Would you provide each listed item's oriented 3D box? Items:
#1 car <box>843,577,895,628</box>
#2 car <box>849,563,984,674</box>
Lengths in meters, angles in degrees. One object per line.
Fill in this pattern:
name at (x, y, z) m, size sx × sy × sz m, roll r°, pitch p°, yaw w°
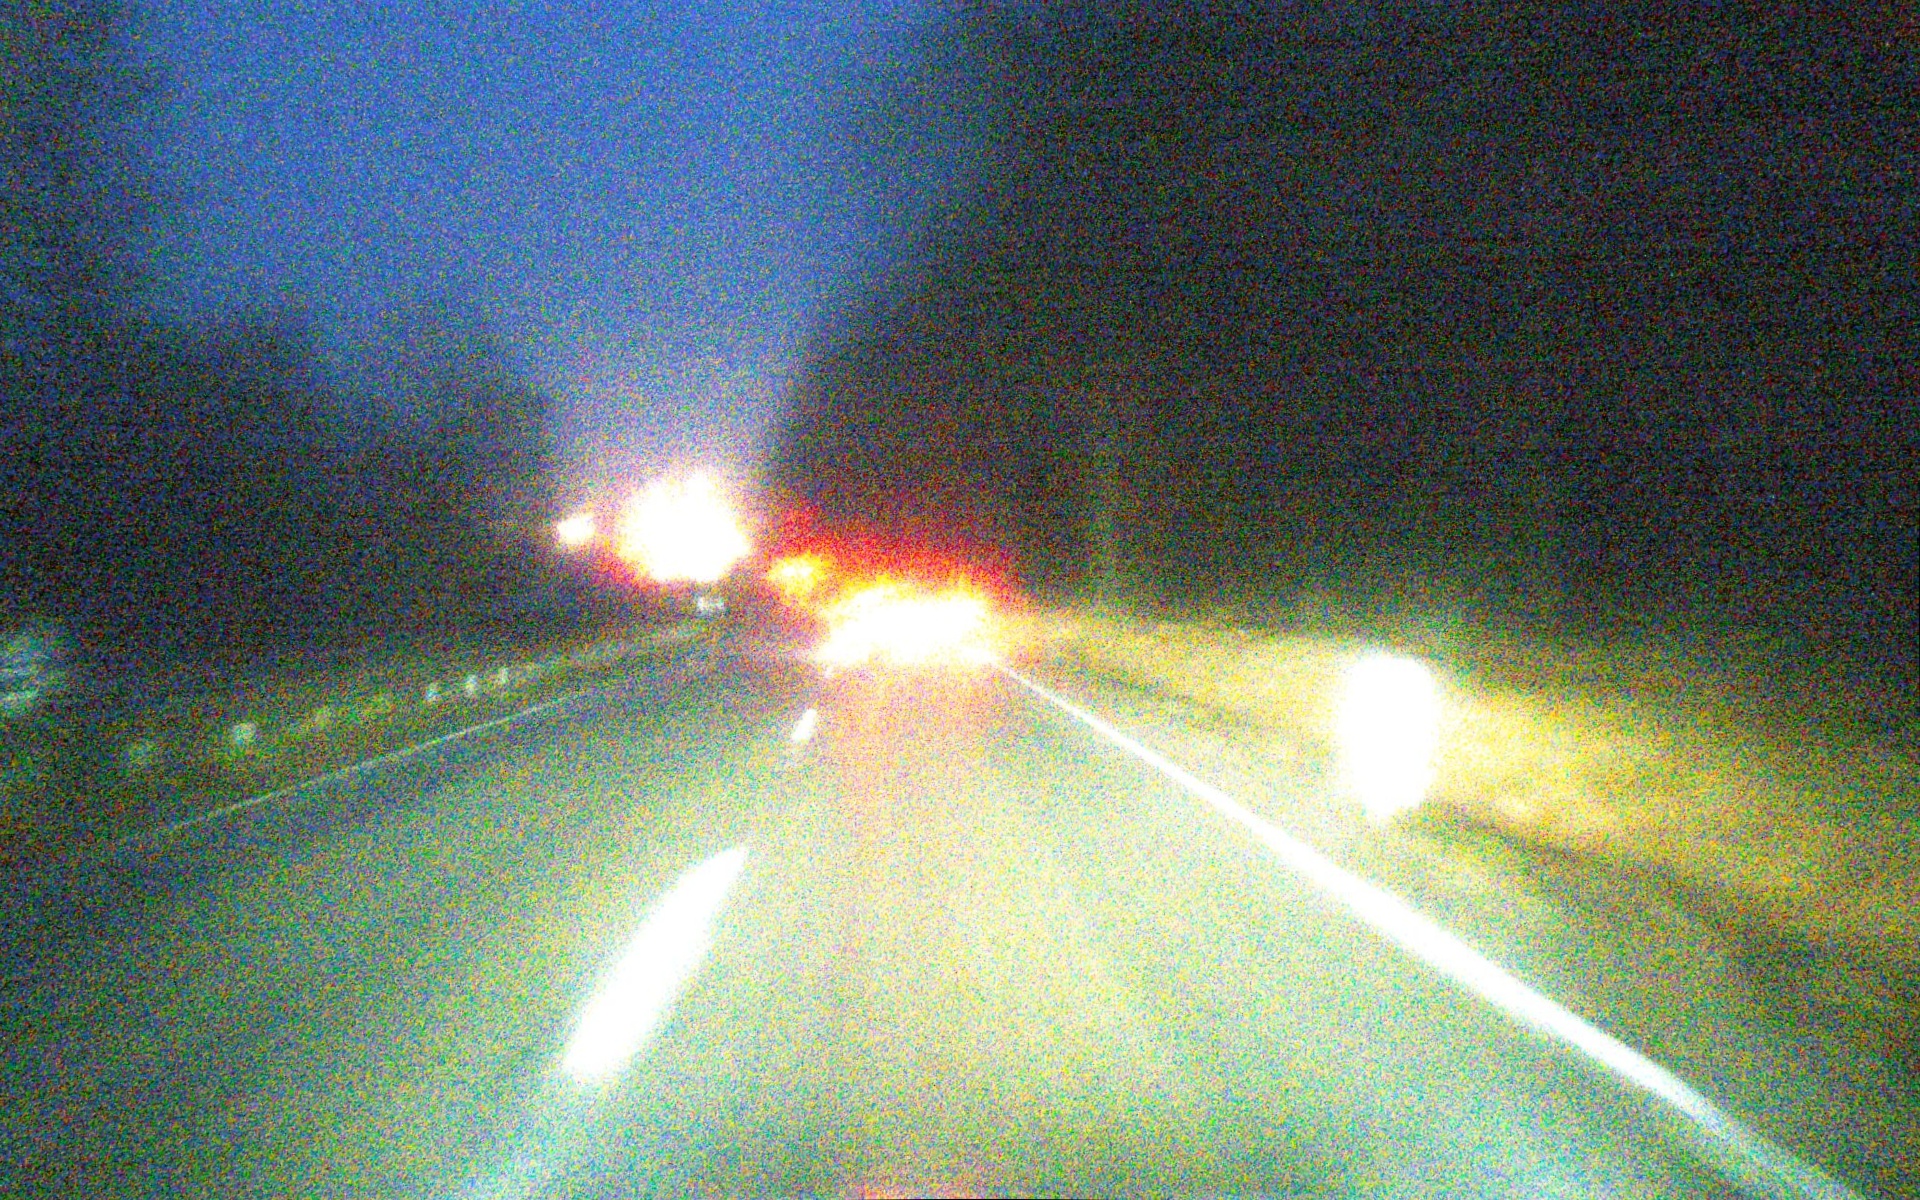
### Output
car at (-3.822, 0.082, 68.701) m, size 1.955 × 2.049 × 3.995 m, roll 0°, pitch 0°, yaw -6°
car at (-0.778, 0.331, 32.066) m, size 2.407 × 1.993 × 4.911 m, roll 0°, pitch 0°, yaw 0°
